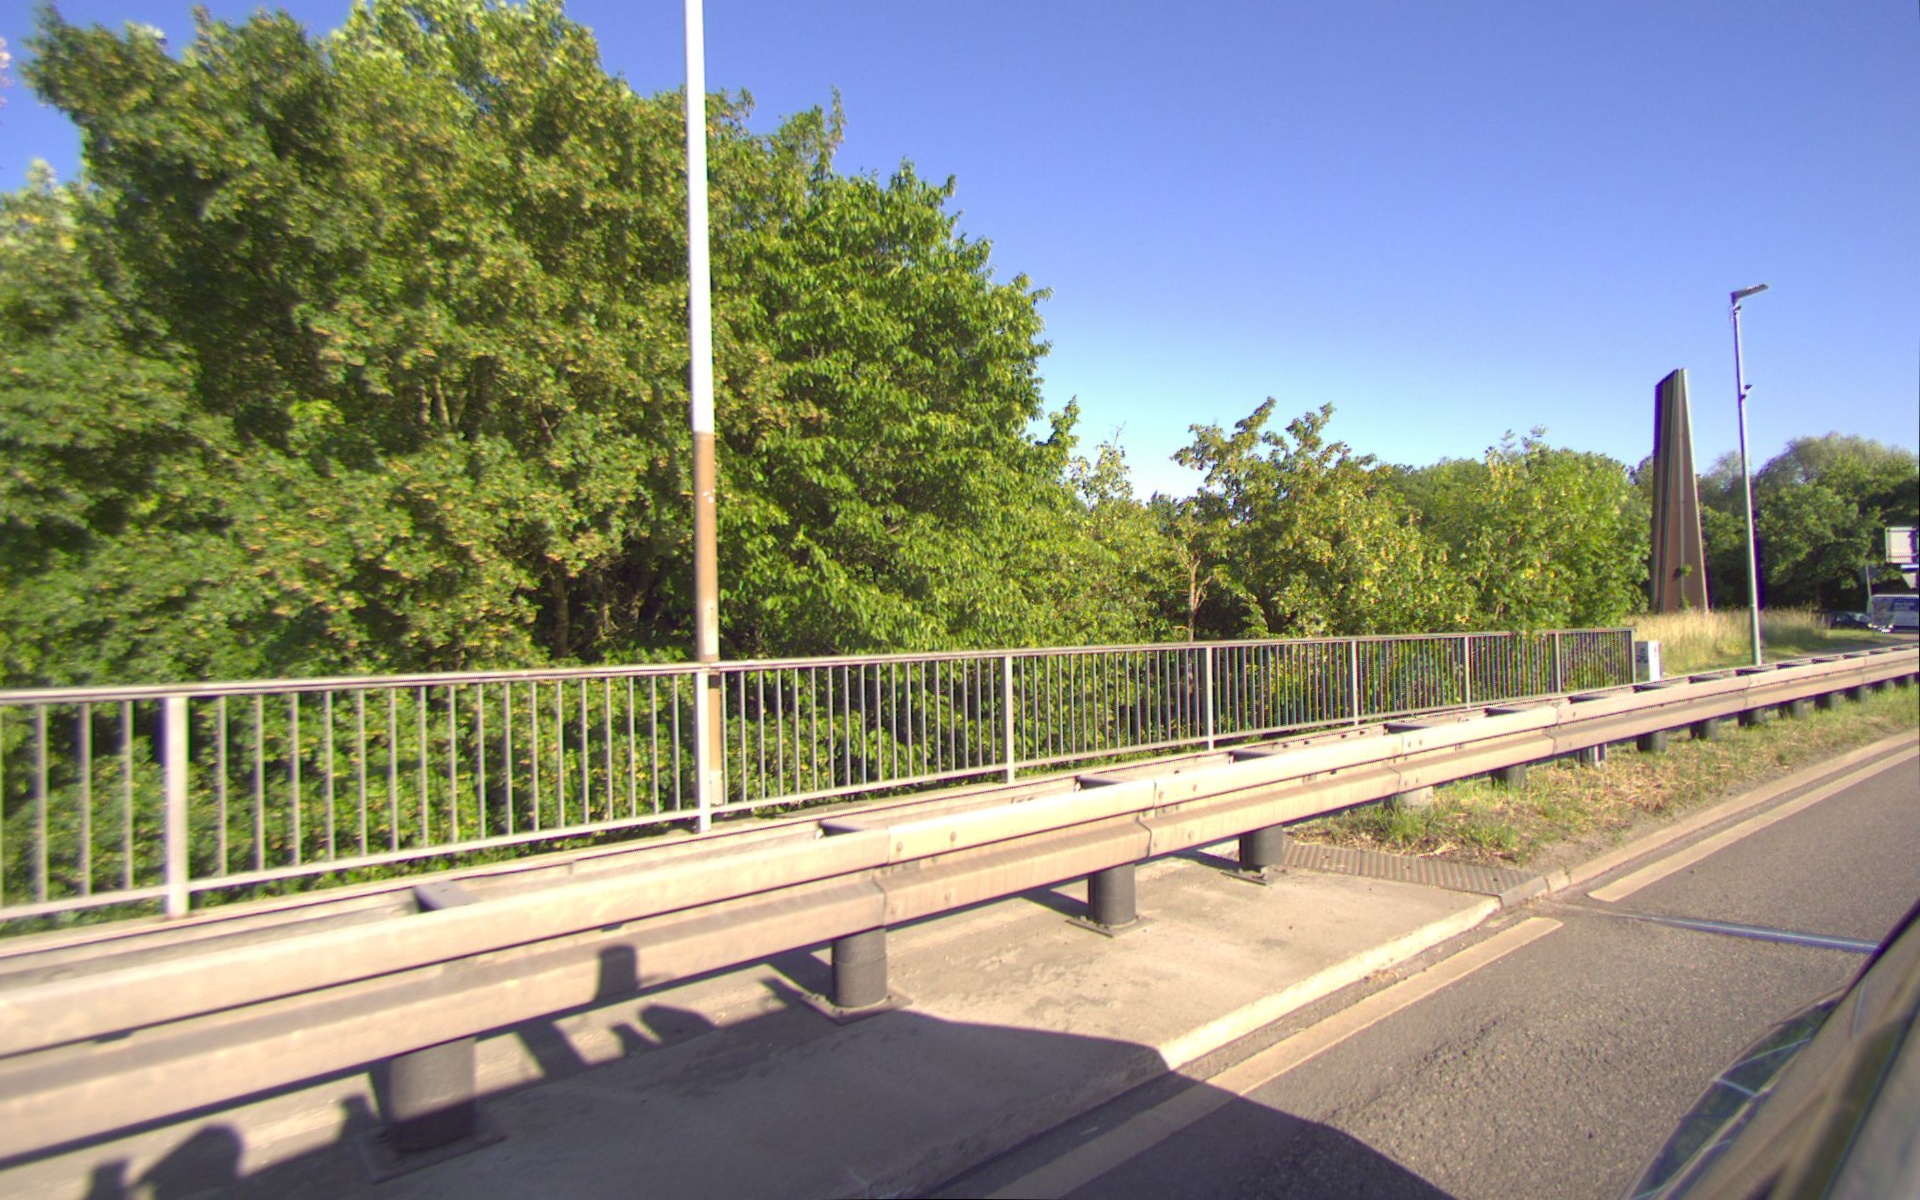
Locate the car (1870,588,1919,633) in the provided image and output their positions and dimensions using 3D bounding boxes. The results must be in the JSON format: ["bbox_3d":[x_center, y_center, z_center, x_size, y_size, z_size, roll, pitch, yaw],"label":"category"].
[{"bbox_3d":[54.436,0.580,56.295,2.073,2.531,5.709,1,-2,-5],"label":"car"}]

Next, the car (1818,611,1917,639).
[{"bbox_3d":[50.766,1.389,56.723,1.808,1.431,3.991,1,0,-4],"label":"car"}]
